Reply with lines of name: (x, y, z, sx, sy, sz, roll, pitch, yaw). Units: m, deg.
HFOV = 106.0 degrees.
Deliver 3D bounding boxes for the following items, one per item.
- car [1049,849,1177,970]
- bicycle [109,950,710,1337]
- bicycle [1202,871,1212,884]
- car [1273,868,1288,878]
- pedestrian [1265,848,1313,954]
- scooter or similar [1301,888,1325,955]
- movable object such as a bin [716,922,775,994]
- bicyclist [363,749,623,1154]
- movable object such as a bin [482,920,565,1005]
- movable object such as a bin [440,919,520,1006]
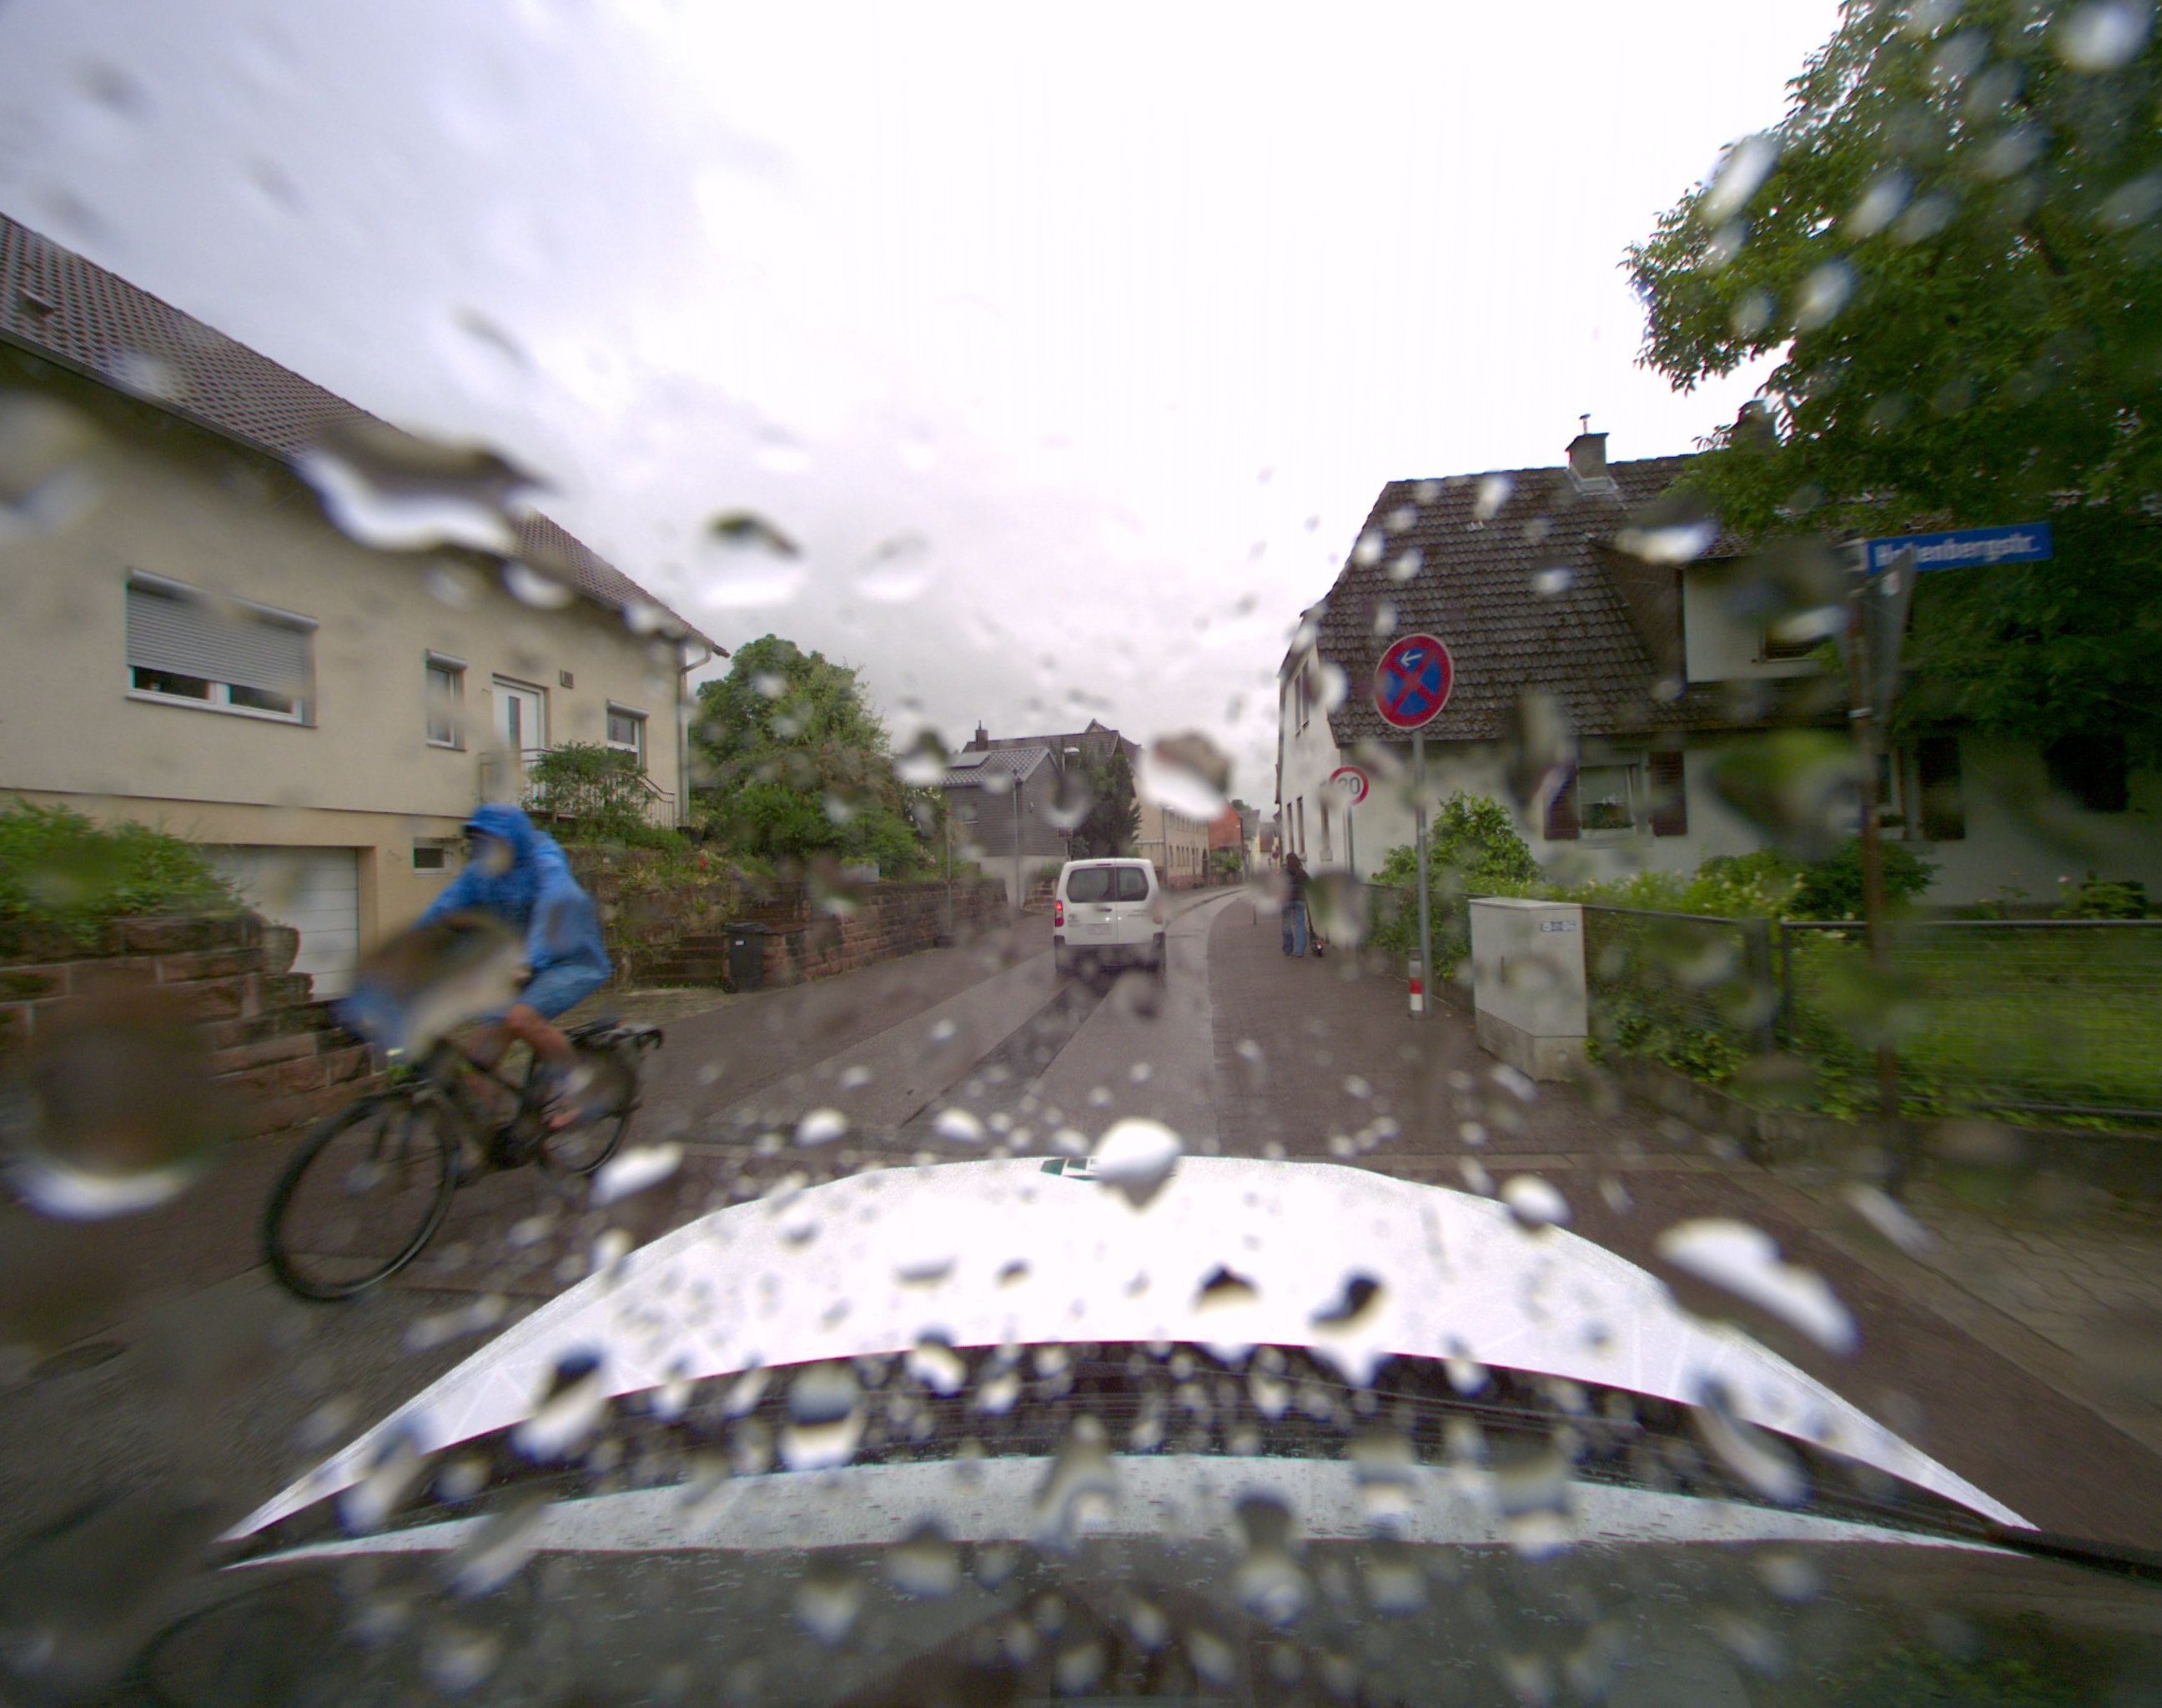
car: (0.707, 0.912, 14.441, 1.784, 1.819, 4.111, -1, -2, 9)
bicycle: (-2.801, 1.099, 3.900, 0.677, 1.051, 2.344, -1, -2, 9)
bicycle: (11.655, 2.127, 75.388, 0.479, 1.180, 1.844, -2, -2, 20)
car: (26.114, 2.498, 106.735, 1.549, 1.372, 3.601, -2, -2, 19)
pedestrian: (3.486, 0.767, 13.712, 0.690, 1.732, 0.823, -1, -1, 9)
scooter or similar: (3.872, 1.101, 13.619, 0.244, 1.028, 1.103, -1, 0, 8)
movable object such as a bin: (-4.587, 1.413, 11.151, 0.535, 0.930, 0.545, -1, -2, 6)
bicyclist: (-2.729, 0.423, 3.852, 0.683, 1.713, 0.705, -1, -2, 9)
movable object such as a bin: (-7.684, 1.479, 11.239, 0.618, 1.063, 0.657, -1, 1, 10)
movable object such as a bin: (-8.343, 1.491, 11.326, 0.602, 1.107, 0.652, -1, 0, 14)
